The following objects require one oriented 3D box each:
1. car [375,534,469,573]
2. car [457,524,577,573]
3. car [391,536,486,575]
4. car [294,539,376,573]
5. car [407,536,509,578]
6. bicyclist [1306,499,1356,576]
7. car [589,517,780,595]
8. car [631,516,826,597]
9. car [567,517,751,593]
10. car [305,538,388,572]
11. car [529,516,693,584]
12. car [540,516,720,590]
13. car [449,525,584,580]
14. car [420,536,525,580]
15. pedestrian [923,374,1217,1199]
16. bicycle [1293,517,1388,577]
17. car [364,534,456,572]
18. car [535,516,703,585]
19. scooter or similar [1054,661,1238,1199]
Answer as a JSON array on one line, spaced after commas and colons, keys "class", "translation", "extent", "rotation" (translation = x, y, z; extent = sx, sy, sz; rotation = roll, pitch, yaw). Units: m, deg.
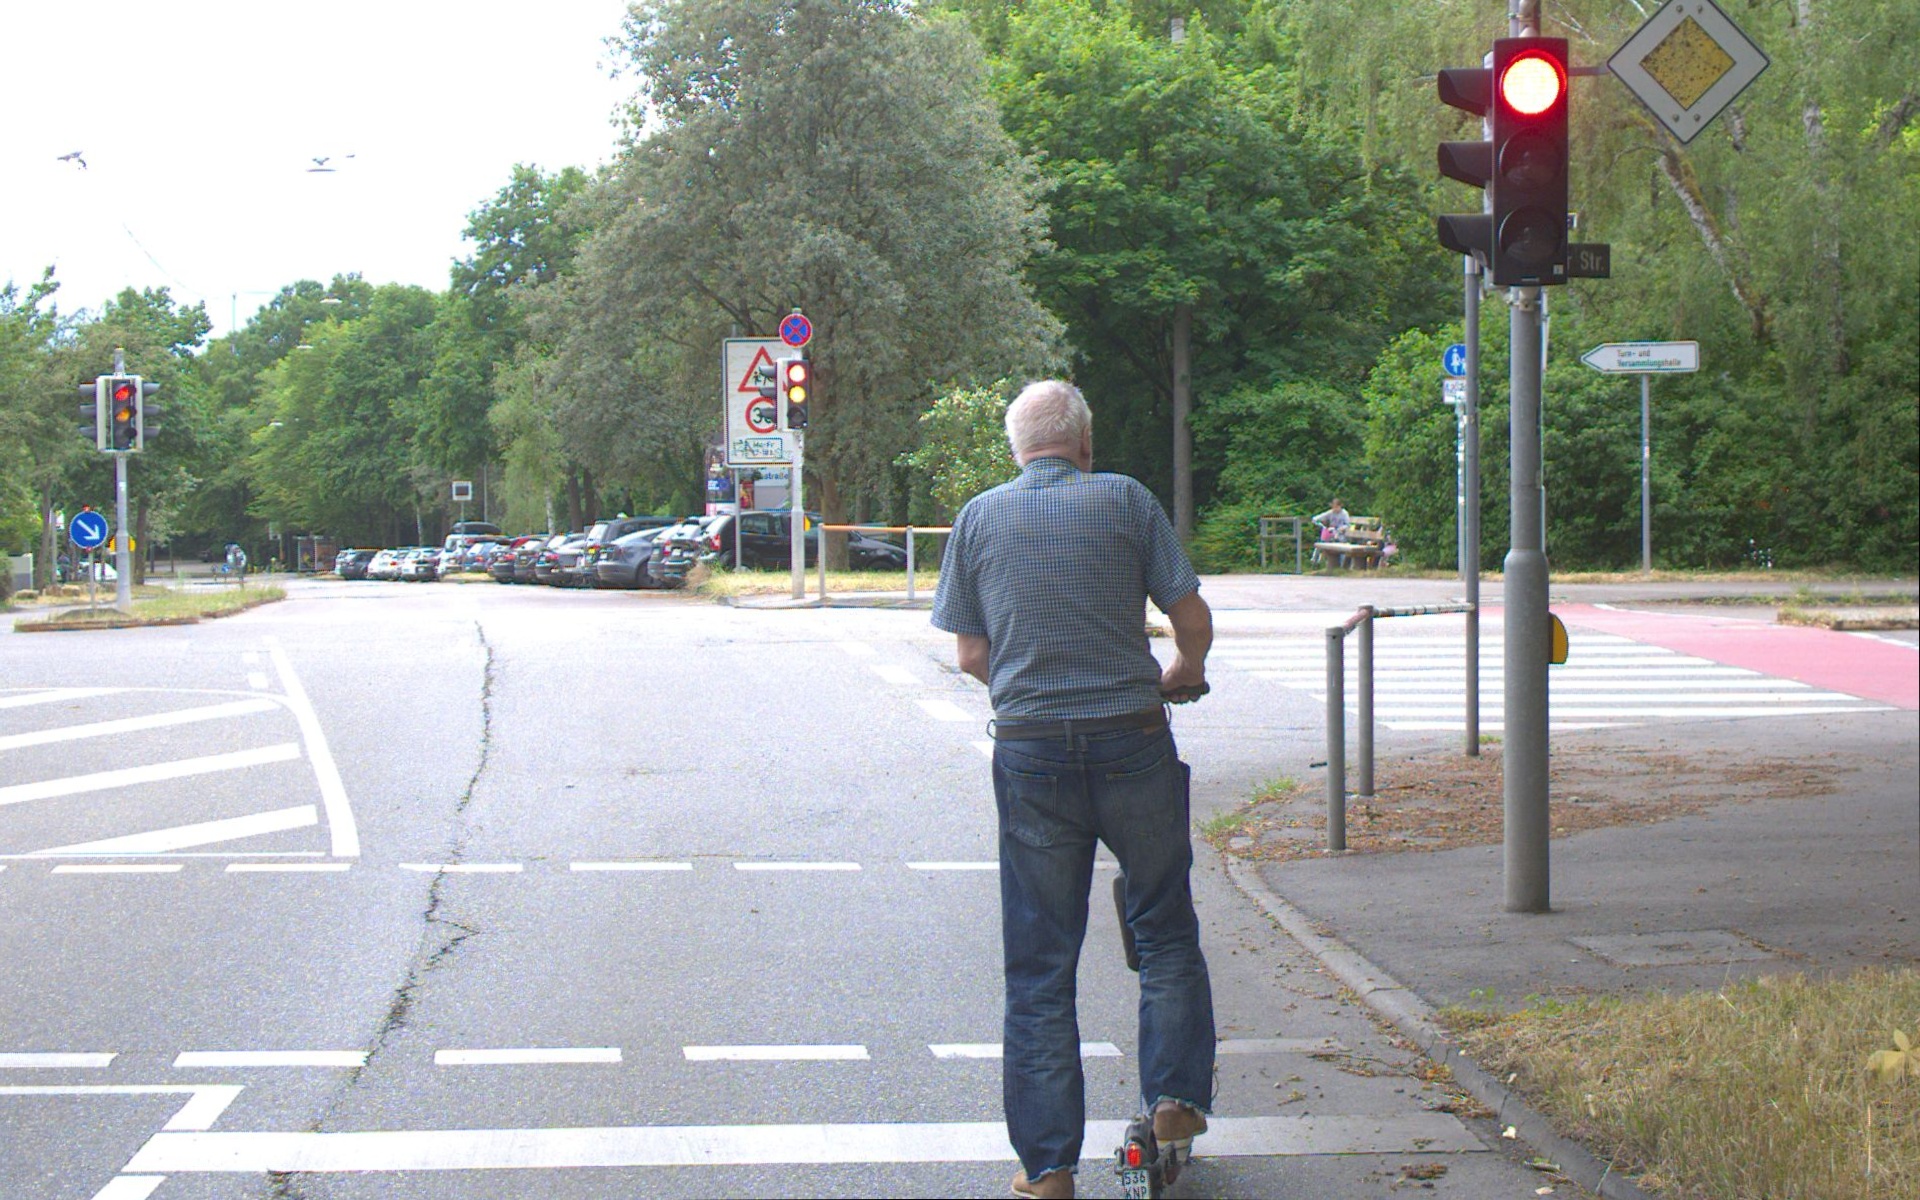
[{"class": "car", "translation": [-24.443, -2.116, 156.202], "extent": [3.840, 1.605, 1.729], "rotation": [-3, 2, -23]}, {"class": "car", "translation": [-15.698, -1.823, 121.889], "extent": [3.840, 1.605, 1.729], "rotation": [-3, 2, -23]}, {"class": "car", "translation": [-23.368, -2.019, 154.070], "extent": [3.840, 1.605, 1.729], "rotation": [-3, 2, -23]}, {"class": "car", "translation": [-32.343, -2.266, 177.972], "extent": [3.840, 1.605, 1.729], "rotation": [-3, 2, -23]}, {"class": "car", "translation": [-20.847, -1.794, 142.766], "extent": [3.840, 1.605, 1.729], "rotation": [-3, 2, -23]}, {"class": "bicyclist", "translation": [6.099, -1.021, 56.527], "extent": [0.494, 1.244, 0.677], "rotation": [2, 1, 42]}, {"class": "car", "translation": [-6.147, -0.994, 76.758], "extent": [3.841, 1.605, 1.728], "rotation": [-3, 2, -24]}, {"class": "car", "translation": [-5.047, -0.963, 74.788], "extent": [3.840, 1.605, 1.729], "rotation": [-3, 2, -21]}, {"class": "car", "translation": [-6.949, -1.046, 79.300], "extent": [3.840, 1.605, 1.729], "rotation": [-3, 2, -23]}, {"class": "car", "translation": [-31.321, -2.294, 175.634], "extent": [3.840, 1.605, 1.729], "rotation": [-3, 2, -23]}, {"class": "car", "translation": [-9.038, -1.303, 89.059], "extent": [3.840, 1.605, 1.729], "rotation": [-3, 2, -23]}, {"class": "car", "translation": [-7.811, -1.124, 81.334], "extent": [3.840, 1.605, 1.729], "rotation": [-3, 2, -23]}, {"class": "car", "translation": [-14.051, -1.512, 108.923], "extent": [3.840, 1.605, 1.729], "rotation": [-3, 2, -23]}, {"class": "car", "translation": [-19.742, -1.714, 139.091], "extent": [3.840, 1.605, 1.729], "rotation": [-3, 2, -23]}, {"class": "pedestrian", "translation": [0.251, 0.422, 7.565], "extent": [0.573, 1.807, 0.420], "rotation": [-1, 1, 8]}, {"class": "bicycle", "translation": [6.291, -0.875, 56.750], "extent": [0.494, 0.955, 1.921], "rotation": [2, 1, 43]}, {"class": "car", "translation": [-25.385, -2.176, 158.772], "extent": [3.840, 1.605, 1.729], "rotation": [-3, 2, -23]}, {"class": "car", "translation": [-8.598, -1.258, 86.647], "extent": [3.840, 1.605, 1.729], "rotation": [-3, 2, -23]}, {"class": "scooter or similar", "translation": [0.416, 0.748, 7.395], "extent": [0.282, 1.174, 1.177], "rotation": [-1, 1, 8]}]
